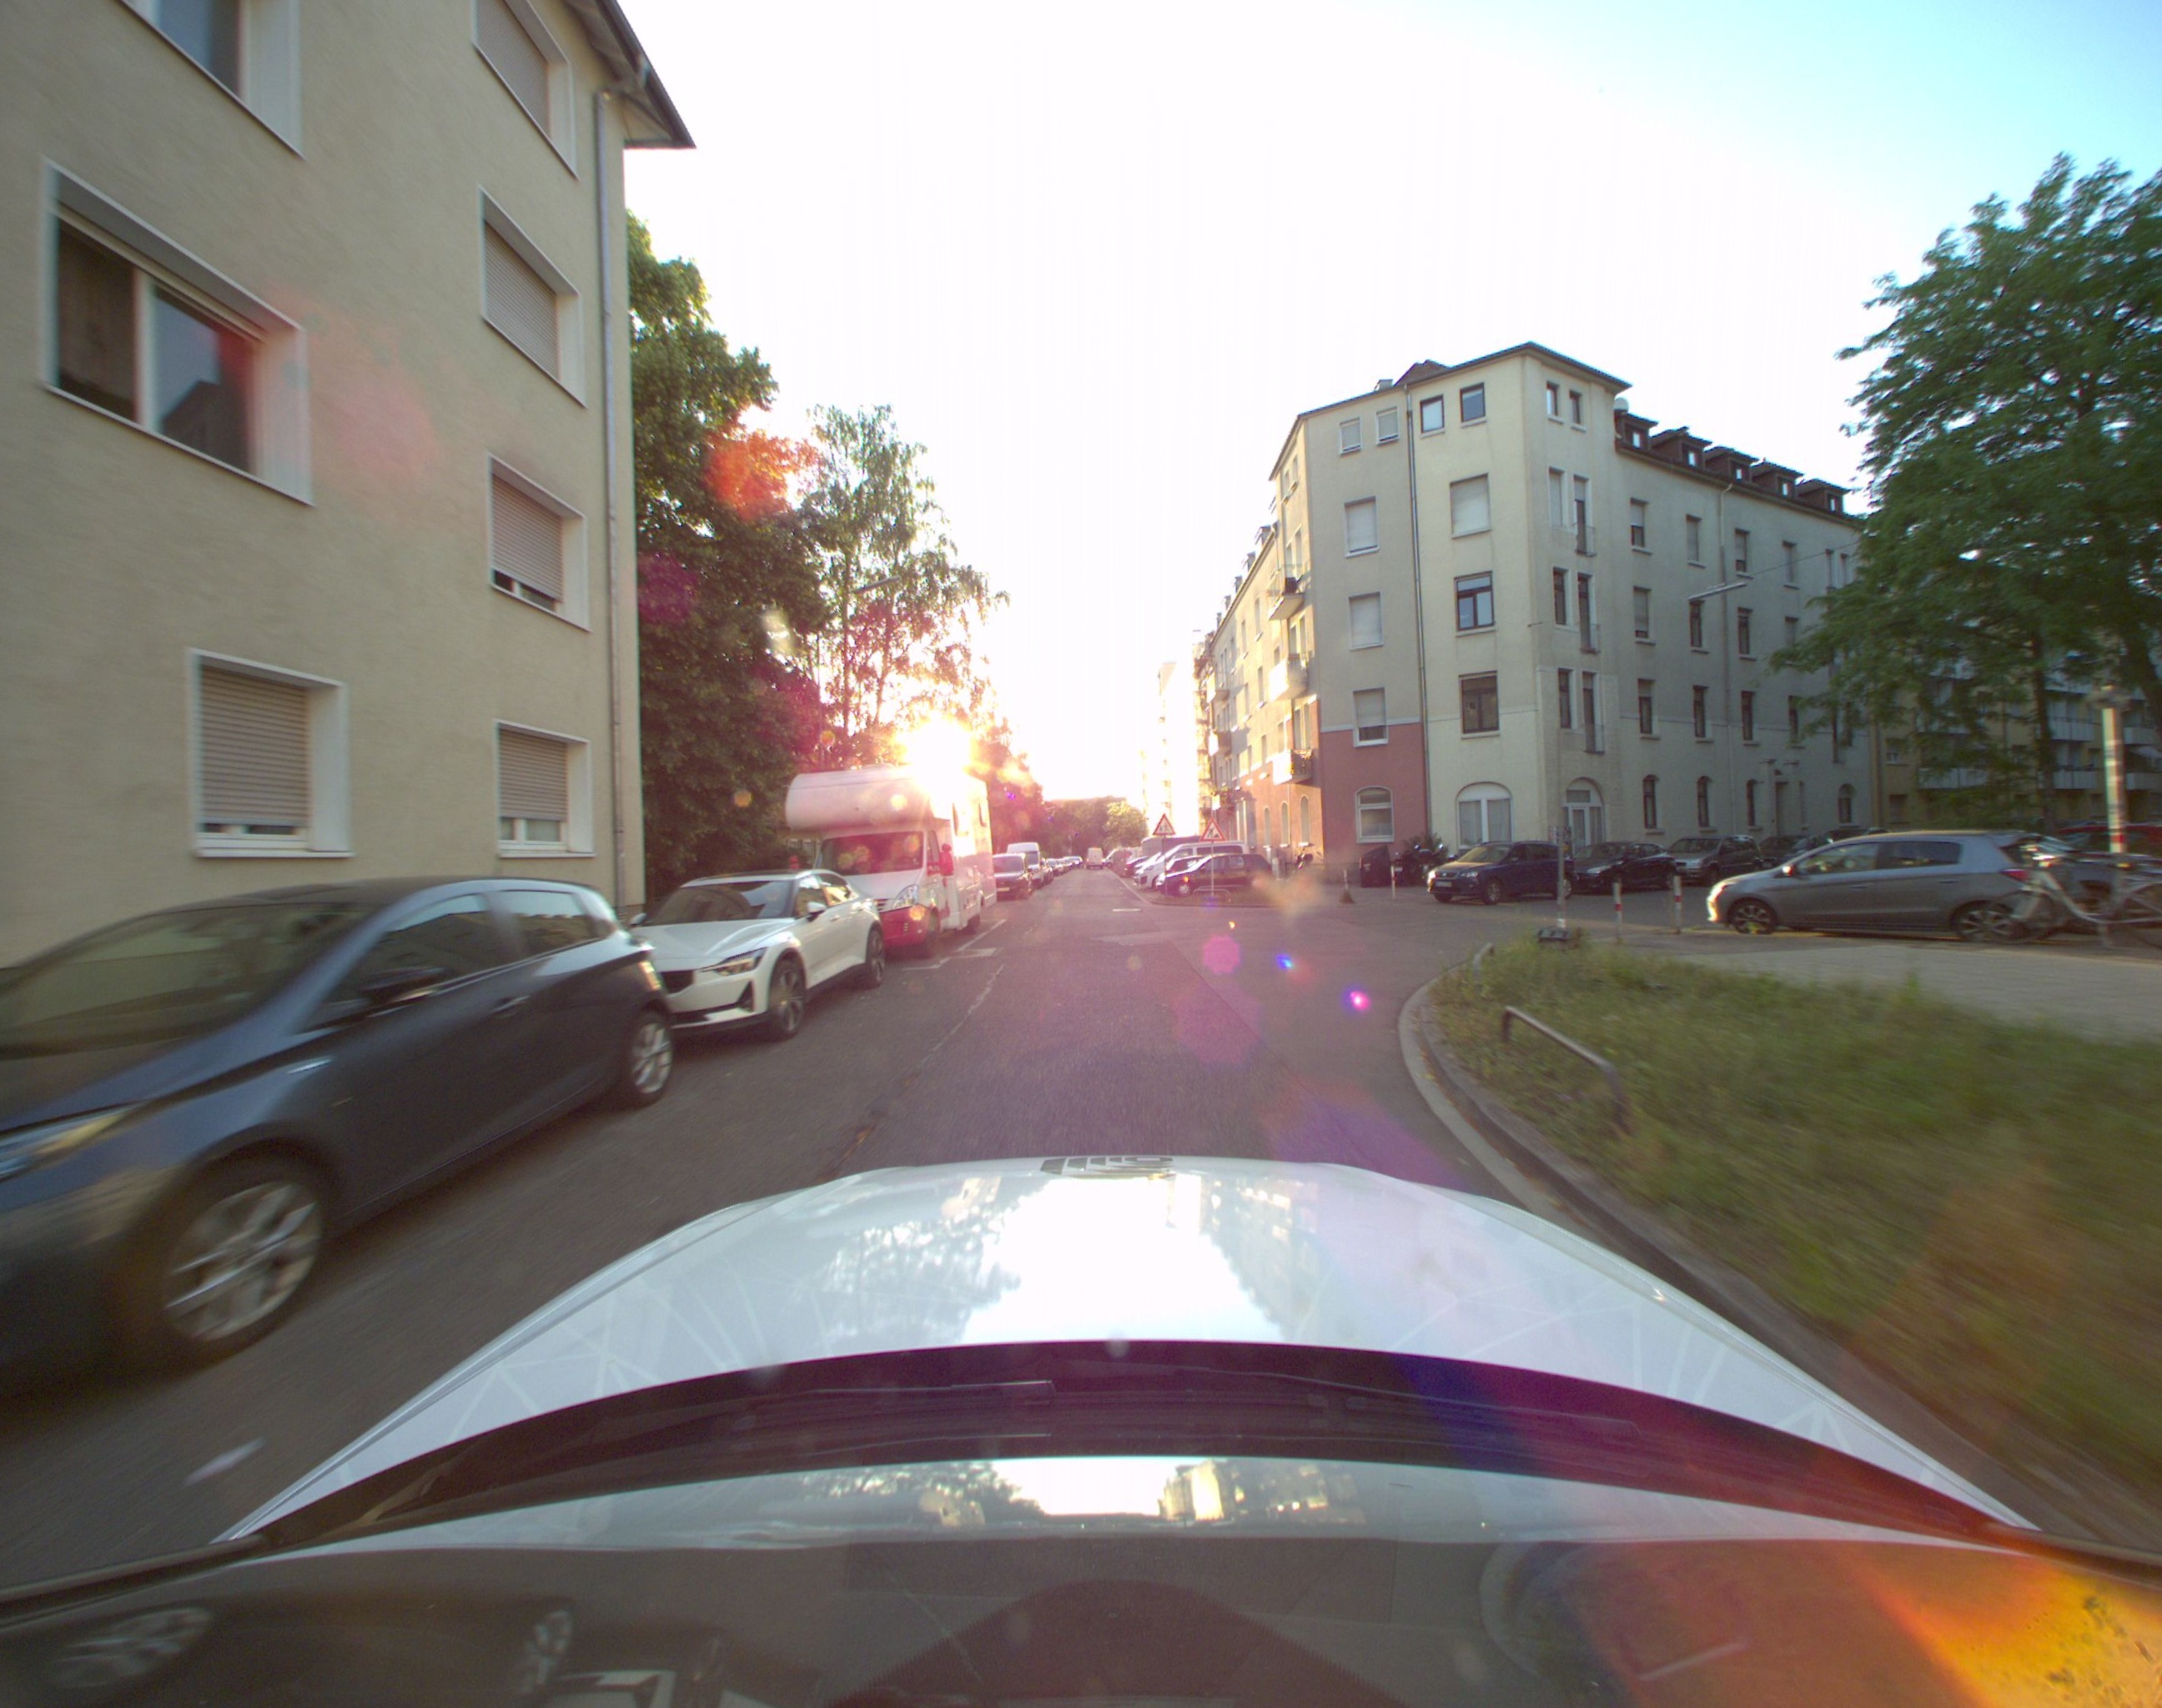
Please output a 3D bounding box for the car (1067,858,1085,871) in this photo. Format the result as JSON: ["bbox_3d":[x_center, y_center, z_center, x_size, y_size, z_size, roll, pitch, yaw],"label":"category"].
[{"bbox_3d":[-0.649,1.417,108.998,1.794,1.569,4.575,-3,-1,8],"label":"car"}]

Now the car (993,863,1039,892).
[{"bbox_3d":[-3.007,1.067,37.689,1.990,1.189,4.030,-2,0,-4],"label":"car"}]

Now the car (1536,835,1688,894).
[{"bbox_3d":[15.194,0.268,23.293,4.011,1.505,1.952,-2,0,-29],"label":"car"}]

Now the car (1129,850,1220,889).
[{"bbox_3d":[4.358,0.705,38.255,3.976,1.640,1.999,-2,-1,-2],"label":"car"}]

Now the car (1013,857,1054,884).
[{"bbox_3d":[-2.810,0.950,49.180,1.986,1.519,4.790,-2,0,1],"label":"car"}]

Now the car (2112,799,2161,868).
[{"bbox_3d":[33.405,-0.667,23.038,2.196,2.013,4.942,-2,0,-30],"label":"car"}]

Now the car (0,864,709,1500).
[{"bbox_3d":[-3.639,0.893,3.914,1.785,1.533,4.066,-3,0,-1],"label":"car"}]

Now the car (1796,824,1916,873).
[{"bbox_3d":[28.729,-0.208,30.184,4.009,1.651,1.982,-2,-1,-27],"label":"car"}]

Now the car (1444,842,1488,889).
[{"bbox_3d":[12.596,0.345,26.611,0.835,1.456,2.795,-2,-1,34],"label":"car"}]

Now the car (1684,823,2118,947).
[{"bbox_3d":[11.479,0.381,11.760,2.004,1.420,3.966,-2,0,-26],"label":"car"}]

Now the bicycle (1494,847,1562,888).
[{"bbox_3d":[14.604,0.438,26.639,1.880,1.281,0.689,-2,-1,26],"label":"bicycle"}]

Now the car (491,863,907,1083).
[{"bbox_3d":[-3.437,0.937,8.668,1.900,1.476,4.911,-4,0,1],"label":"car"}]

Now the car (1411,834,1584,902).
[{"bbox_3d":[10.821,0.331,21.174,4.004,1.573,1.816,-2,0,-23],"label":"car"}]

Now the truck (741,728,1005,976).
[{"bbox_3d":[-3.354,-0.012,15.662,2.516,3.353,8.021,-5,0,2],"label":"truck"}]

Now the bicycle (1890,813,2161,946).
[{"bbox_3d":[11.073,0.272,9.338,0.518,1.383,2.481,-1,0,-29],"label":"bicycle"}]

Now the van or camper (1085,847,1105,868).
[{"bbox_3d":[1.761,0.457,103.039,2.445,2.547,6.084,0,0,1],"label":"van or camper"}]

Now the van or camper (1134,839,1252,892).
[{"bbox_3d":[4.830,0.498,35.523,4.819,2.096,2.040,-2,0,-1],"label":"van or camper"}]

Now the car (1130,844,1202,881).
[{"bbox_3d":[5.484,0.539,52.809,4.262,1.979,1.817,-4,1,-7],"label":"car"}]

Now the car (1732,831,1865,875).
[{"bbox_3d":[24.650,-0.044,27.992,4.009,1.354,2.077,-2,-1,-27],"label":"car"}]

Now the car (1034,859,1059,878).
[{"bbox_3d":[-2.852,1.142,67.156,1.988,1.453,3.997,-2,0,-2],"label":"car"}]

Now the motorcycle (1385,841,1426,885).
[{"bbox_3d":[11.101,0.293,27.808,0.735,1.434,2.368,-2,0,35],"label":"motorcycle"}]

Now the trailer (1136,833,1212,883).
[{"bbox_3d":[4.877,0.225,43.034,3.558,2.337,1.939,-4,0,-3],"label":"trailer"}]

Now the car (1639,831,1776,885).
[{"bbox_3d":[19.536,0.113,25.372,4.012,1.505,1.954,-2,0,-30],"label":"car"}]

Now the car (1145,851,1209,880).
[{"bbox_3d":[5.896,0.705,50.370,3.682,1.610,1.744,-2,0,-2],"label":"car"}]

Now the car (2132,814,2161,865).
[{"bbox_3d":[31.244,-0.452,21.442,2.002,1.398,3.970,-2,0,-22],"label":"car"}]

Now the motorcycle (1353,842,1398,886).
[{"bbox_3d":[10.207,0.328,28.180,0.828,1.434,2.368,-2,0,35],"label":"motorcycle"}]

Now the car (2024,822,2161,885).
[{"bbox_3d":[26.937,-0.039,20.374,2.004,1.530,3.966,-2,0,-26],"label":"car"}]

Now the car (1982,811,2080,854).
[{"bbox_3d":[42.909,-0.958,36.777,4.009,1.783,1.982,-2,-1,-27],"label":"car"}]

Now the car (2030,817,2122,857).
[{"bbox_3d":[48.251,-0.808,39.477,4.009,1.783,1.982,-2,-1,-27],"label":"car"}]

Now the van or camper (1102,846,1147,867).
[{"bbox_3d":[5.857,0.348,110.001,5.910,2.770,2.109,-1,-1,-1],"label":"van or camper"}]

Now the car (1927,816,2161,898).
[{"bbox_3d":[20.355,0.057,16.537,2.004,1.516,3.965,-2,0,-27],"label":"car"}]

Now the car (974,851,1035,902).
[{"bbox_3d":[-2.944,0.834,32.345,1.904,1.788,4.948,-3,0,0],"label":"car"}]

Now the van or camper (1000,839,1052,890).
[{"bbox_3d":[-2.848,0.529,43.495,1.985,2.457,6.088,-2,0,3],"label":"van or camper"}]

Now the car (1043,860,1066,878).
[{"bbox_3d":[-2.349,1.294,72.976,1.776,1.445,4.748,-4,0,0],"label":"car"}]

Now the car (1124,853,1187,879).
[{"bbox_3d":[5.024,0.825,55.511,4.137,1.615,1.873,-2,0,2],"label":"car"}]

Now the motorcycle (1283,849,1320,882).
[{"bbox_3d":[8.666,0.449,32.100,0.739,1.235,2.653,-2,0,1],"label":"motorcycle"}]

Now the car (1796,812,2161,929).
[{"bbox_3d":[13.830,0.221,12.427,1.850,1.486,3.967,-2,0,-25],"label":"car"}]

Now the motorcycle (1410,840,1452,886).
[{"bbox_3d":[11.752,0.277,27.310,0.735,1.434,2.670,-2,0,35],"label":"motorcycle"}]

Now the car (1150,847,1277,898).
[{"bbox_3d":[4.581,0.646,28.569,4.092,1.585,1.853,-2,0,-3],"label":"car"}]

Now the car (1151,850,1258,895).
[{"bbox_3d":[4.980,0.729,33.223,3.976,1.618,1.999,-2,0,-2],"label":"car"}]

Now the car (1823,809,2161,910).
[{"bbox_3d":[15.807,0.089,14.039,2.003,1.464,3.967,-2,0,-25],"label":"car"}]

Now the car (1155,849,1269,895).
[{"bbox_3d":[4.942,0.671,31.180,3.976,1.530,1.999,-2,0,-2],"label":"car"}]

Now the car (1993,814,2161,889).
[{"bbox_3d":[22.834,-0.070,17.464,2.005,1.530,3.964,-2,0,-27],"label":"car"}]

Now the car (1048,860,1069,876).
[{"bbox_3d":[-2.233,1.379,81.601,1.854,1.538,4.758,-3,0,0],"label":"car"}]

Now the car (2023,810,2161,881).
[{"bbox_3d":[24.844,-0.219,18.597,2.005,1.585,3.964,-2,0,-27],"label":"car"}]
